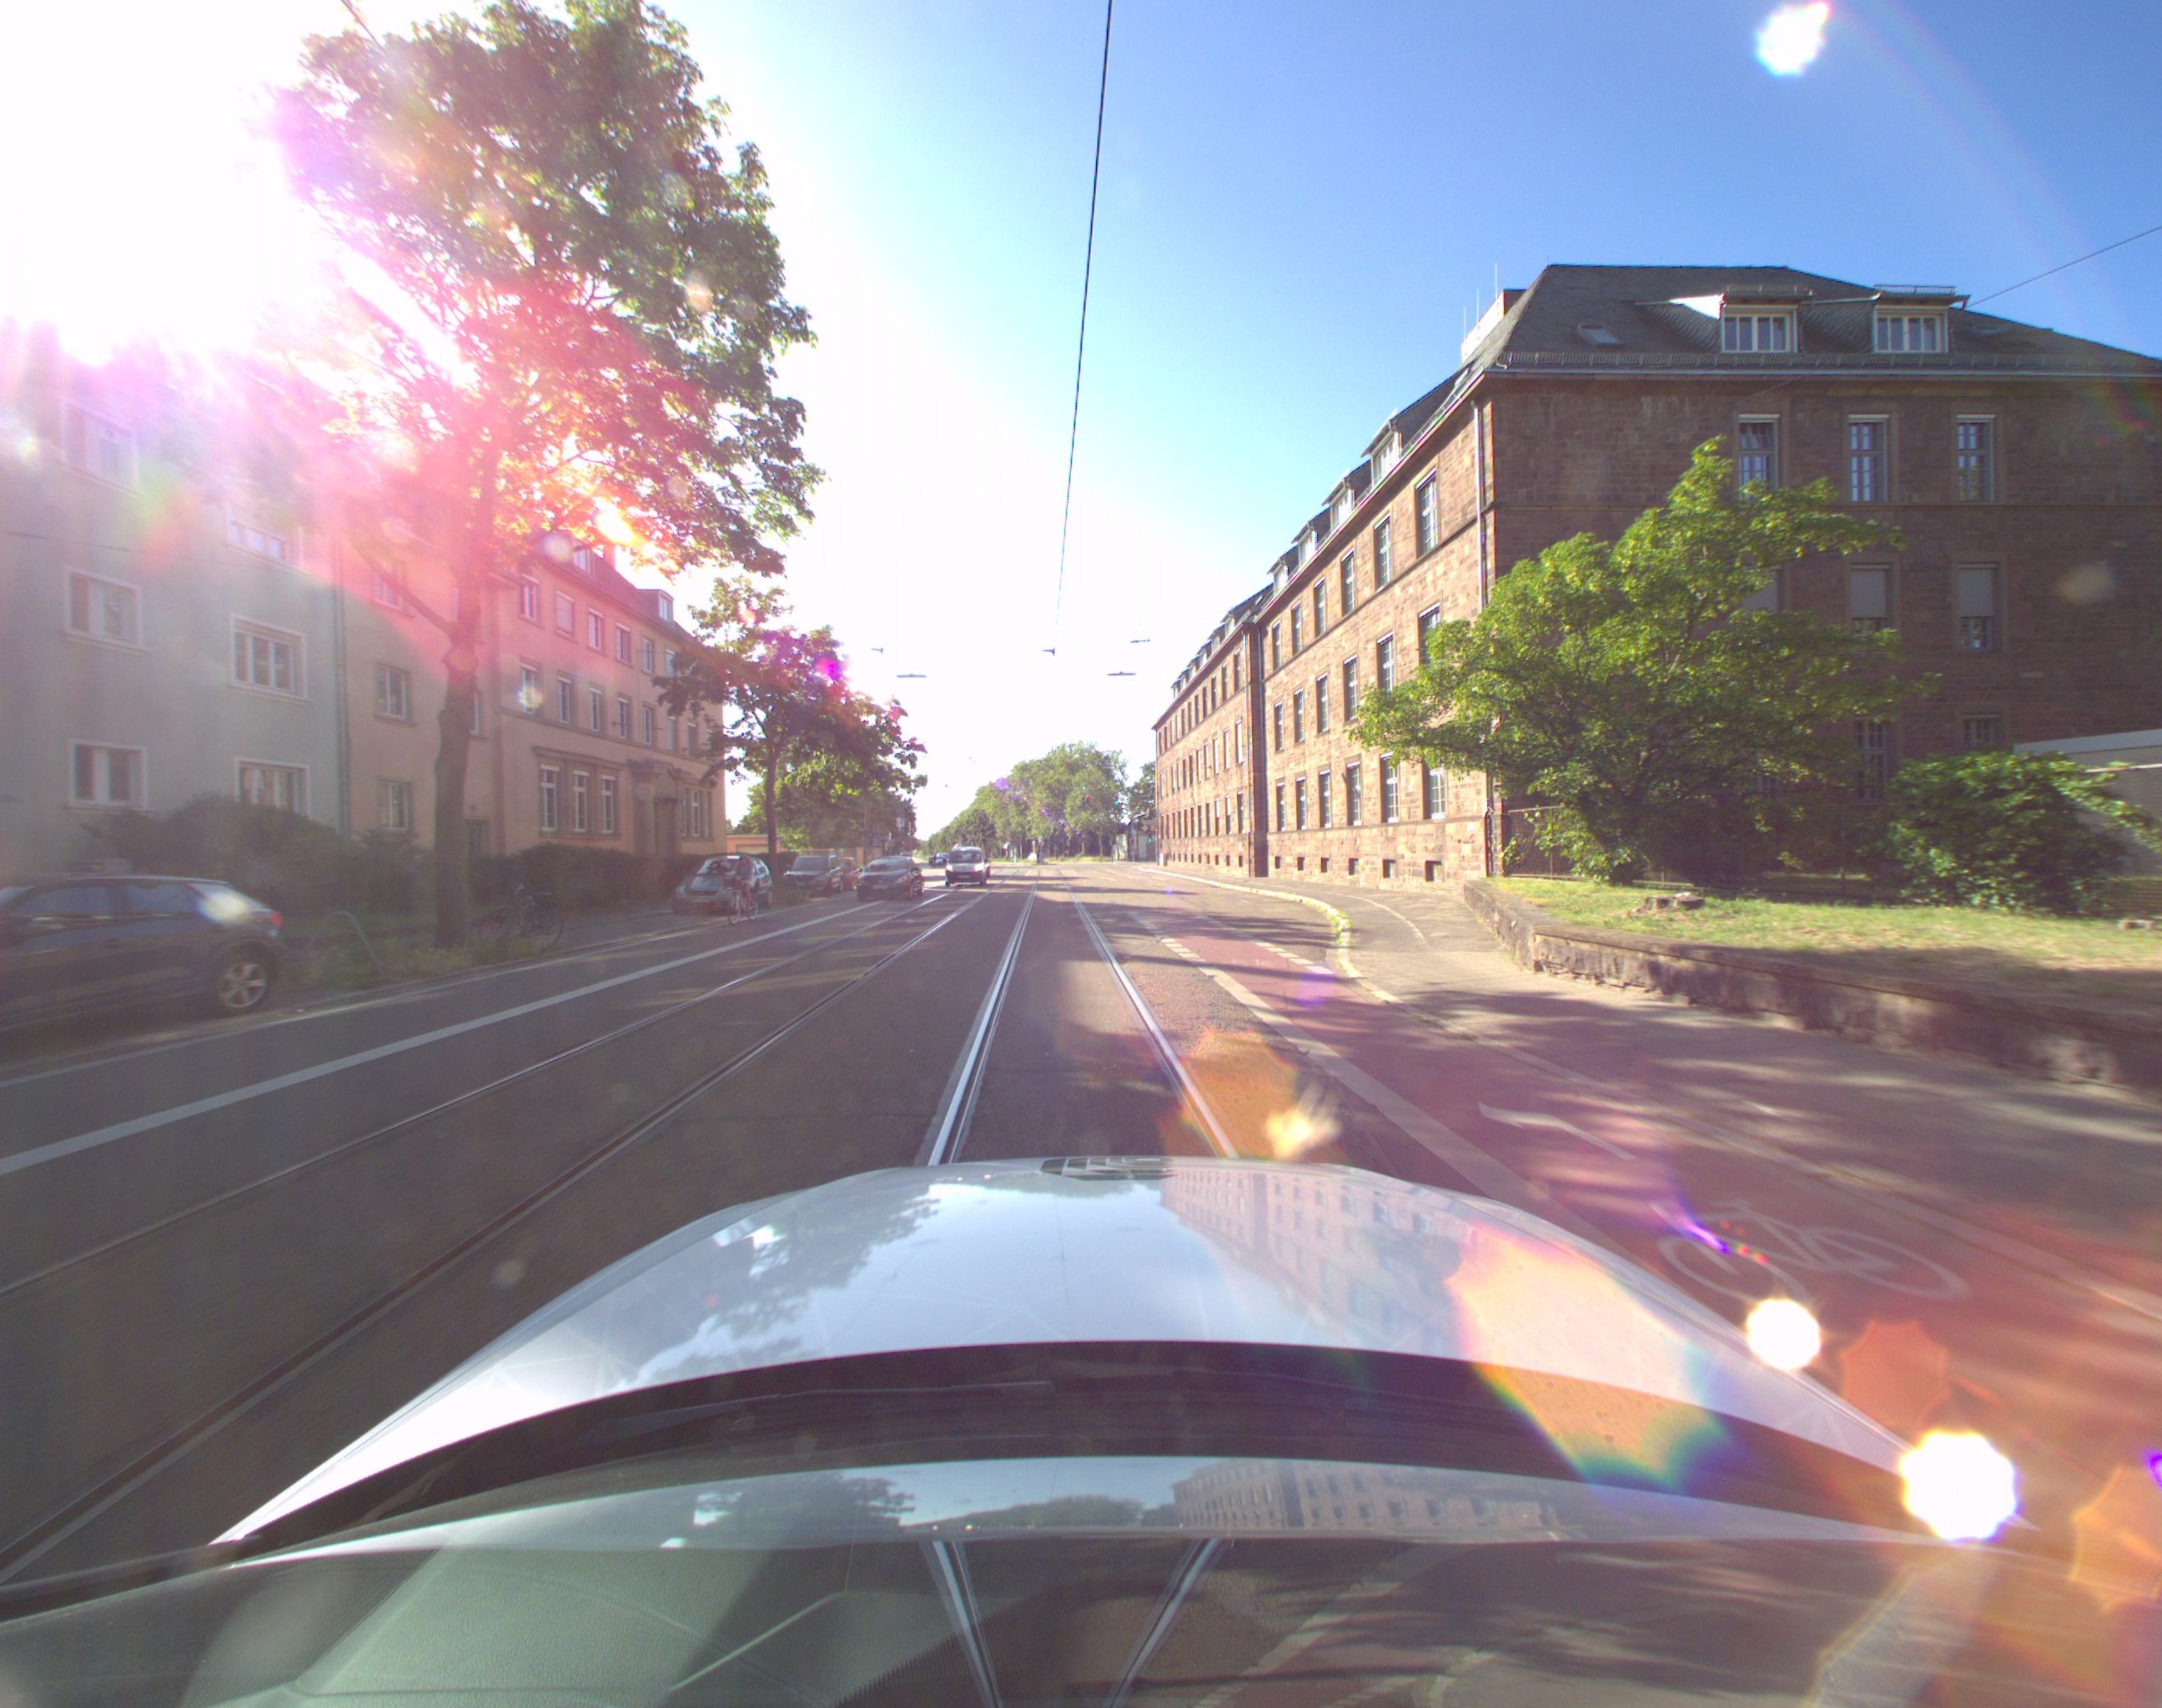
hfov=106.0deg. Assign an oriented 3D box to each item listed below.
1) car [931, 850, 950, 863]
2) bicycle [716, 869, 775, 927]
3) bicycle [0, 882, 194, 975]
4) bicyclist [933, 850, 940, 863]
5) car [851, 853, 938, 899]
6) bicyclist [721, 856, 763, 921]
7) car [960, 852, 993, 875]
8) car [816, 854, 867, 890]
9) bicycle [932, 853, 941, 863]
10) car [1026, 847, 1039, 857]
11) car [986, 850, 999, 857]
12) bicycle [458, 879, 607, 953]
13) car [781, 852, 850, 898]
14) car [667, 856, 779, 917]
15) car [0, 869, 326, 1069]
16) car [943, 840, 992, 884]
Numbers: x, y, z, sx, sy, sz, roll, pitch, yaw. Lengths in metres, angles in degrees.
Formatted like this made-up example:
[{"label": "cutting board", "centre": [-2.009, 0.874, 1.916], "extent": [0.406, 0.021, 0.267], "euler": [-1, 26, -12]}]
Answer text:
[{"label": "car", "centre": [-17.493, 0.313, 101.216], "extent": [1.998, 1.504, 3.978], "euler": [-2, 0, -16]}, {"label": "bicycle", "centre": [-7.975, 1.008, 19.445], "extent": [0.557, 1.198, 2.288], "euler": [-5, 1, -5]}, {"label": "bicycle", "centre": [-13.910, 1.037, 11.503], "extent": [2.274, 1.198, 0.560], "euler": [1, 1, 4]}, {"label": "bicyclist", "centre": [-17.270, 0.270, 97.232], "extent": [0.751, 1.504, 0.958], "euler": [-1, 0, -18]}, {"label": "car", "centre": [-6.282, 0.696, 27.924], "extent": [1.803, 1.387, 4.442], "euler": [-1, 0, 2]}, {"label": "bicyclist", "centre": [-7.967, 0.797, 19.187], "extent": [0.557, 1.456, 0.868], "euler": [-5, 1, -5]}, {"label": "car", "centre": [-6.651, 0.579, 52.072], "extent": [1.918, 1.387, 4.677], "euler": [-1, 0, -6]}, {"label": "car", "centre": [-10.829, 0.794, 37.001], "extent": [1.580, 1.488, 3.604], "euler": [1, 0, -7]}, {"label": "bicycle", "centre": [-17.287, 0.475, 97.271], "extent": [0.751, 1.087, 2.164], "euler": [-1, 0, -17]}, {"label": "car", "centre": [-8.126, -0.298, 136.251], "extent": [1.941, 1.610, 3.989], "euler": [-1, 0, -8]}, {"label": "car", "centre": [-21.402, -0.022, 197.030], "extent": [1.951, 1.610, 3.969], "euler": [-2, 0, -23]}, {"label": "bicycle", "centre": [-9.521, 1.064, 14.160], "extent": [2.274, 1.198, 0.560], "euler": [1, 1, 4]}, {"label": "car", "centre": [-10.478, 0.767, 32.409], "extent": [1.744, 1.660, 4.380], "euler": [1, 0, -7]}, {"label": "car", "centre": [-10.290, 0.866, 23.732], "extent": [1.743, 1.569, 4.062], "euler": [1, 0, -5]}, {"label": "car", "centre": [-9.548, 0.952, 7.269], "extent": [1.742, 1.490, 4.318], "euler": [1, 0, -4]}, {"label": "car", "centre": [-5.284, 0.337, 38.492], "extent": [1.805, 1.888, 4.436], "euler": [-1, 0, -2]}]
